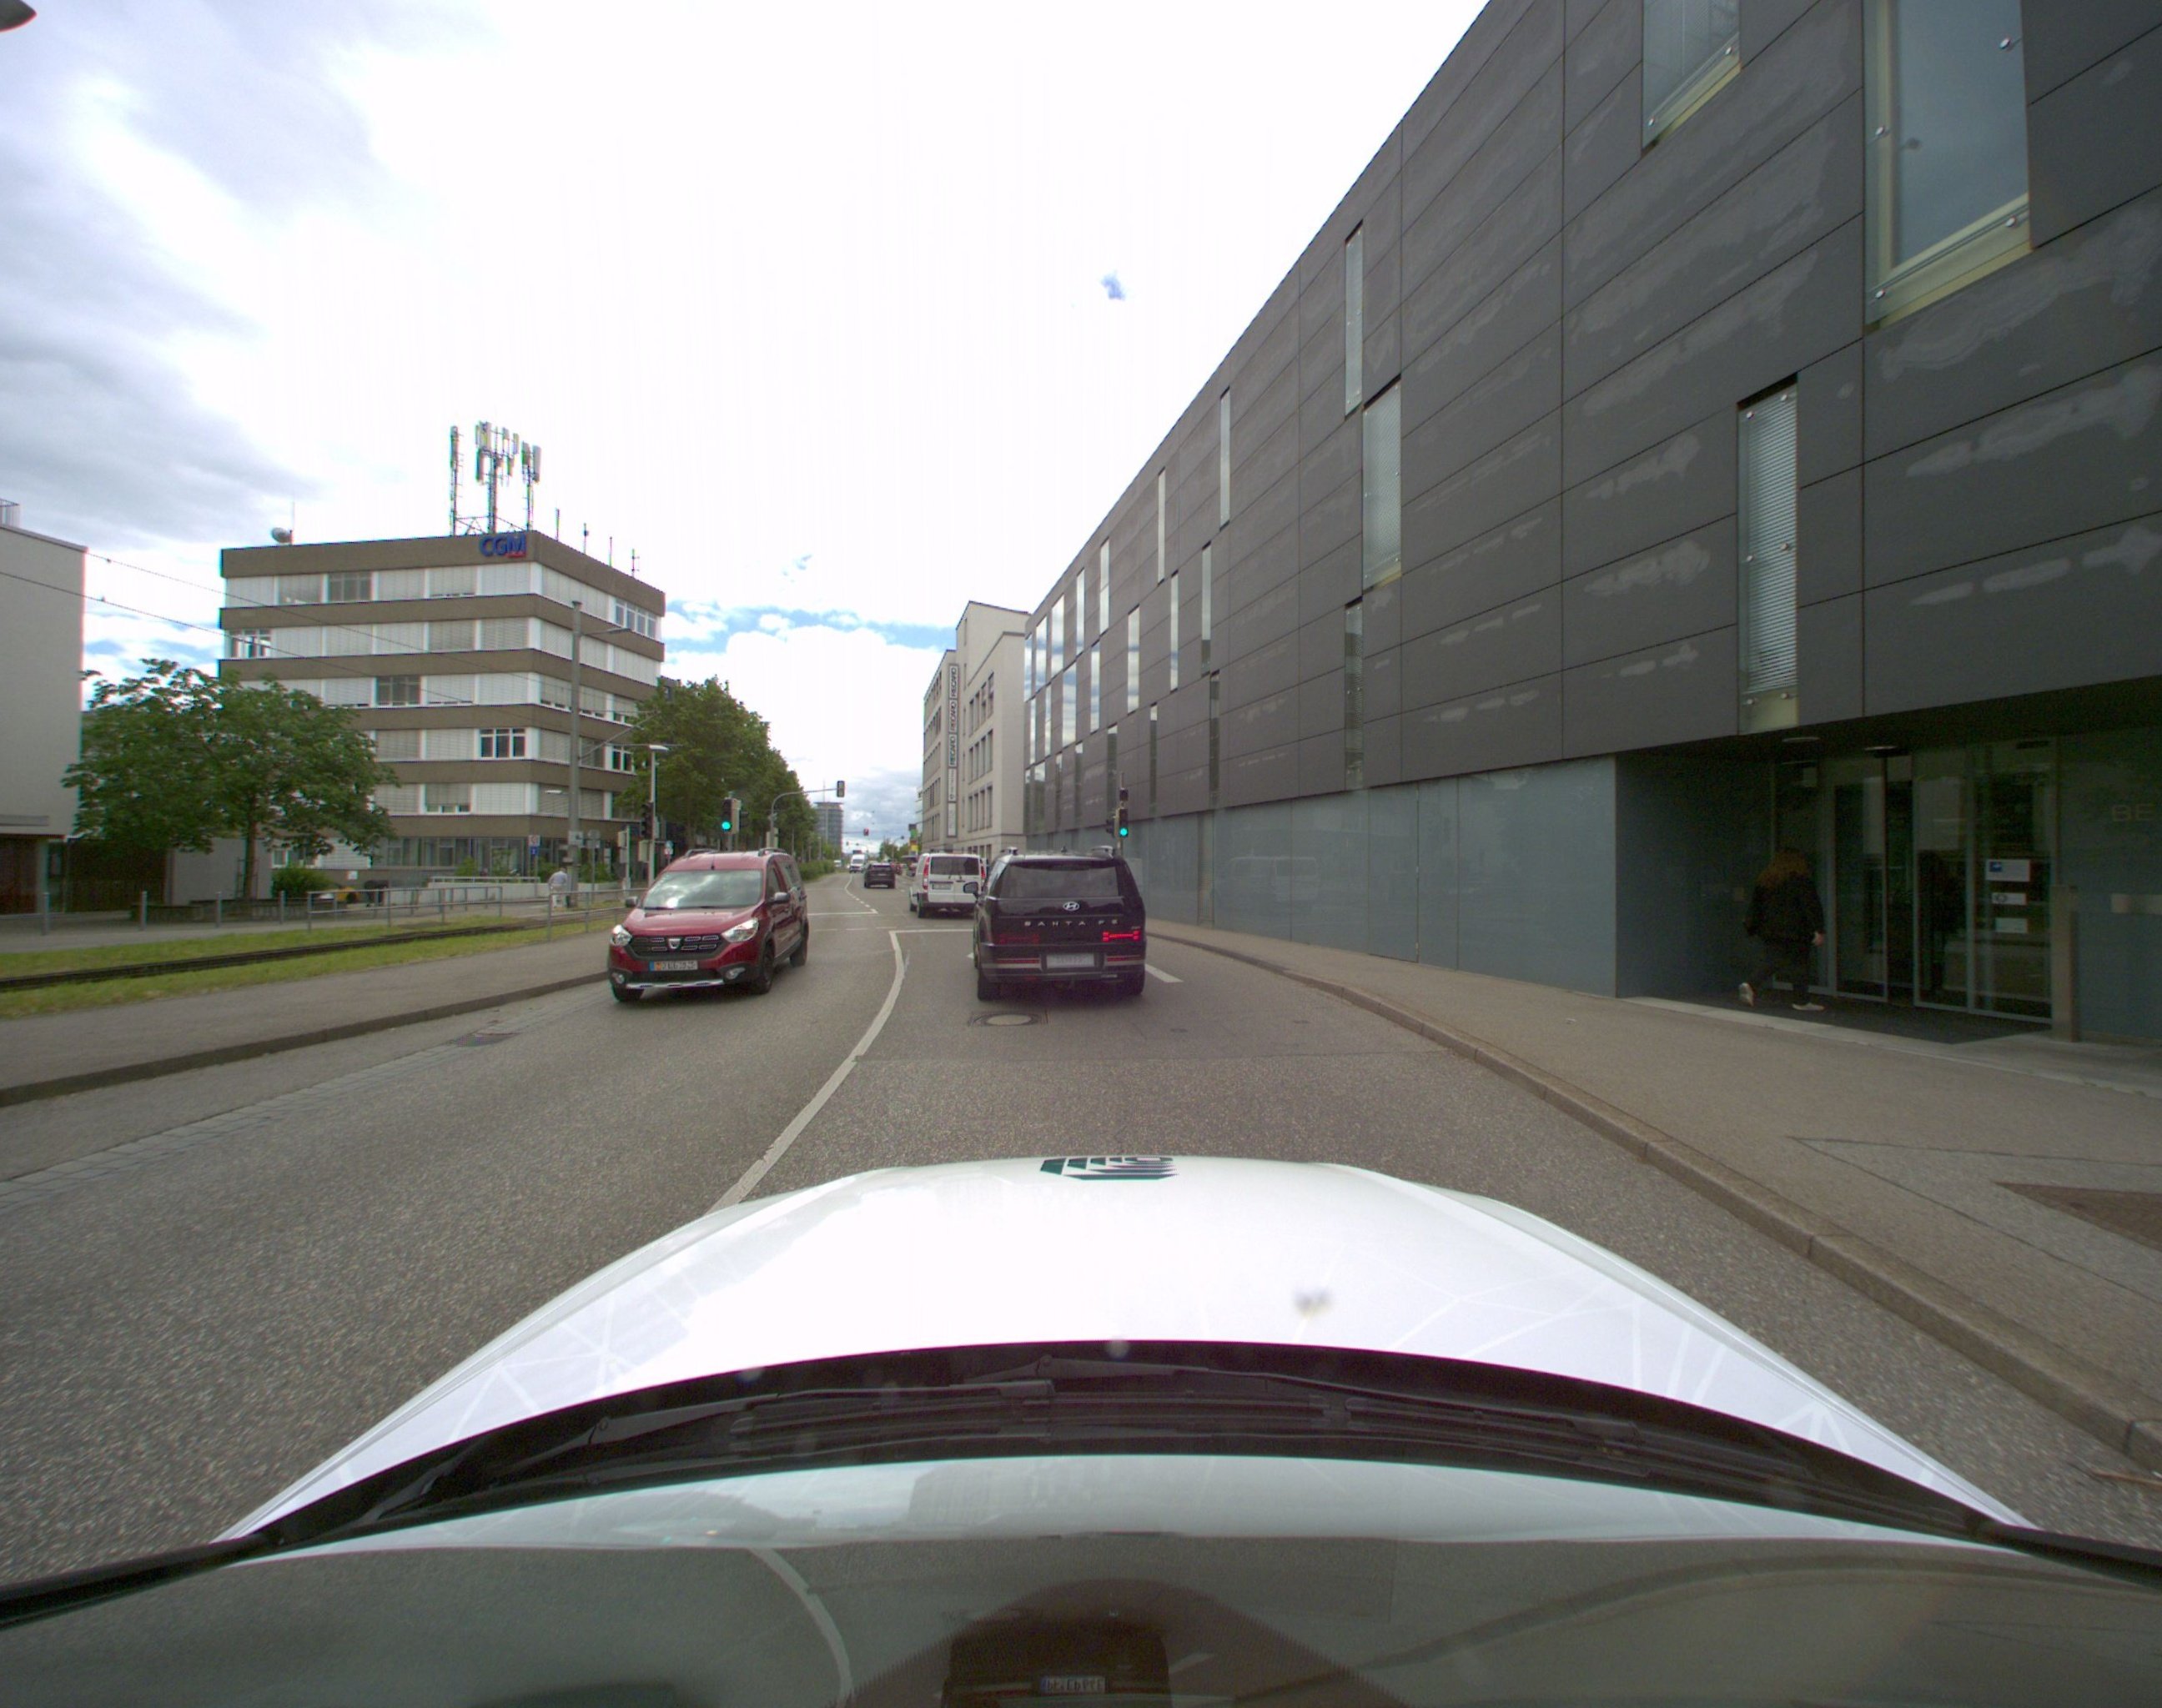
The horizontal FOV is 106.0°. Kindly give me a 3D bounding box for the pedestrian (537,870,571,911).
[{"bbox_3d":[-20.253,1.376,31.306,0.850,1.526,0.990,-1,-1,-18],"label":"pedestrian"}]

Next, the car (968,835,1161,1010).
[{"bbox_3d":[-0.451,0.718,10.479,1.908,1.749,4.382,0,-1,-9],"label":"car"}]

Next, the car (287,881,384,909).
[{"bbox_3d":[-43.073,2.355,47.178,1.717,1.425,4.005,-2,-1,5],"label":"car"}]

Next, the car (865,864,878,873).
[{"bbox_3d":[-45.263,3.086,175.699,1.678,1.882,3.959,1,-1,-32],"label":"car"}]

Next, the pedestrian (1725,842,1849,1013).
[{"bbox_3d":[7.412,0.730,8.564,0.867,1.694,0.707,1,-1,-27],"label":"pedestrian"}]

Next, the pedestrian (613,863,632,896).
[{"bbox_3d":[-24.089,1.333,42.764,0.689,1.705,0.679,-1,-1,-14],"label":"pedestrian"}]

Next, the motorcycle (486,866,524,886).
[{"bbox_3d":[-33.869,1.294,47.867,1.869,1.199,0.569,0,-1,5],"label":"motorcycle"}]

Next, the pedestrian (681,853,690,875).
[{"bbox_3d":[-37.068,0.951,76.253,0.682,2.014,0.567,0,-1,-16],"label":"pedestrian"}]

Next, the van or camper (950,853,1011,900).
[{"bbox_3d":[-4.456,0.951,35.516,1.997,1.916,4.308,1,-1,-16],"label":"van or camper"}]

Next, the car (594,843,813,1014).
[{"bbox_3d":[-4.841,0.840,11.103,1.681,1.808,4.335,-1,-1,-11],"label":"car"}]

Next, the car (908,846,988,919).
[{"bbox_3d":[-4.147,0.811,24.899,1.935,1.994,4.511,0,-1,-15],"label":"car"}]

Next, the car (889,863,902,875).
[{"bbox_3d":[-26.046,2.077,114.568,1.761,1.609,4.169,0,-1,-13],"label":"car"}]

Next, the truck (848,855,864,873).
[{"bbox_3d":[-33.327,1.527,120.695,2.170,2.616,5.763,0,-1,-17],"label":"truck"}]

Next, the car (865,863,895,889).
[{"bbox_3d":[-13.203,1.427,53.684,1.761,1.609,4.170,0,-1,-12],"label":"car"}]
